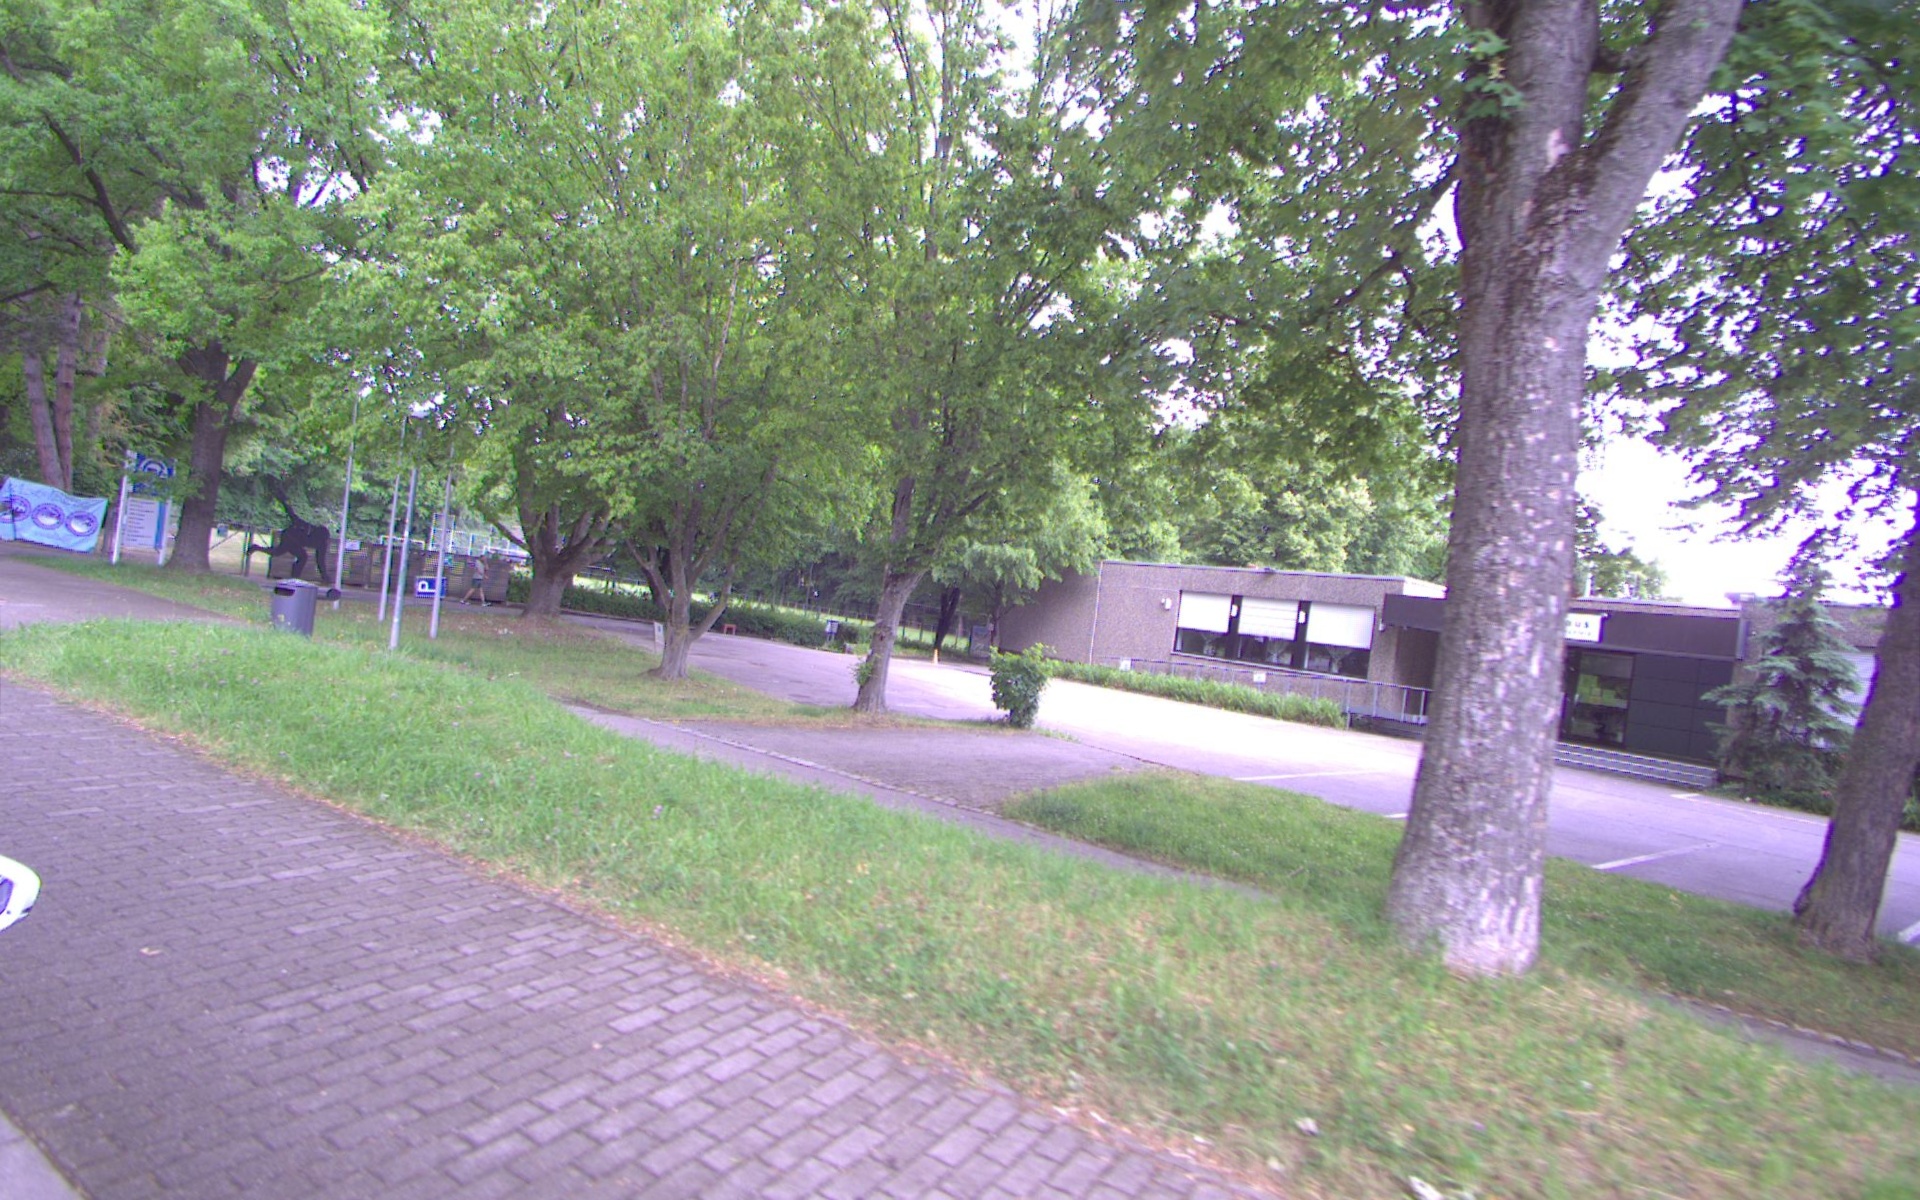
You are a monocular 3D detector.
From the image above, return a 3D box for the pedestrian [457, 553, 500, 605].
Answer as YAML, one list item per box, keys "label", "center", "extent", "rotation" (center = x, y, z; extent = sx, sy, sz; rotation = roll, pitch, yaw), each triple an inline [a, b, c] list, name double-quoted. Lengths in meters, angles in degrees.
- label: "pedestrian"
  center: [-16.826, -0.727, 35.117]
  extent: [1.140, 1.695, 0.786]
  rotation: [5, 0, -33]
